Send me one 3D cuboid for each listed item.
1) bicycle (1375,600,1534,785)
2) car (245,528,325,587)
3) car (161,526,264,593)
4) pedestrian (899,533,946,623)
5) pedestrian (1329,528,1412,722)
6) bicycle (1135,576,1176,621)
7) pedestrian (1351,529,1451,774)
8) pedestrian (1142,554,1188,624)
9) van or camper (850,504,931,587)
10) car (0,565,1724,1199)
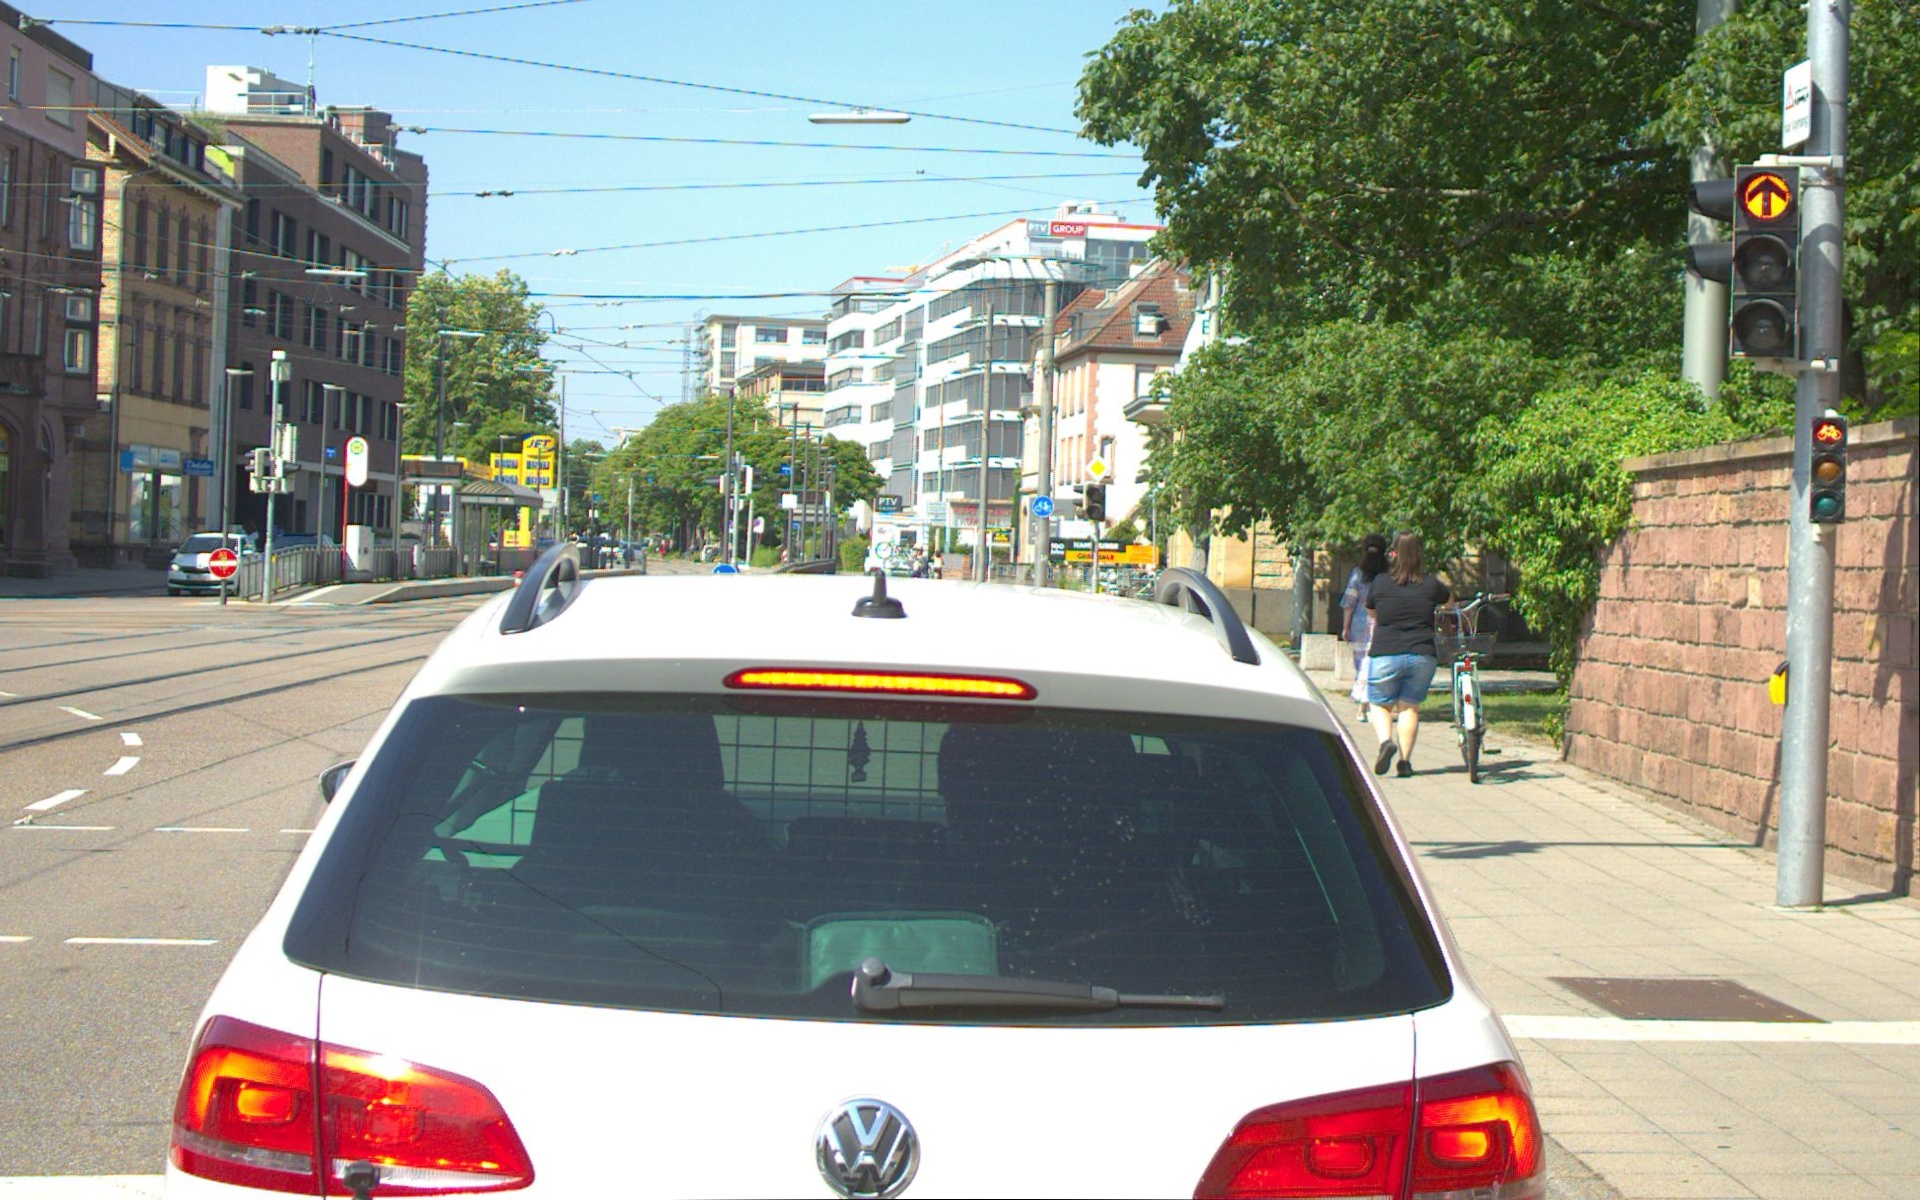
[{"bbox_3d":[3.146,0.568,22.011,0.536,1.107,1.807,1,0,-6],"label":"bicycle"},{"bbox_3d":[-17.588,-1.130,89.666,1.572,1.454,3.815,2,1,-4],"label":"car"},{"bbox_3d":[-17.442,-0.942,80.381,1.625,1.426,3.963,3,1,-2],"label":"car"},{"bbox_3d":[-0.762,-0.457,70.058,0.831,1.803,0.829,2,1,5],"label":"pedestrian"},{"bbox_3d":[3.636,0.215,30.461,0.650,1.676,0.707,2,1,5],"label":"pedestrian"},{"bbox_3d":[5.145,-0.041,90.438,0.726,1.135,2.193,2,1,12],"label":"bicycle"},{"bbox_3d":[2.811,0.318,21.948,0.540,1.543,0.663,0,1,-1],"label":"pedestrian"},{"bbox_3d":[4.552,-0.239,76.207,0.856,1.505,0.781,2,1,12],"label":"pedestrian"},{"bbox_3d":[-2.749,-2.190,138.119,2.944,3.169,6.613,2,1,0],"label":"van or camper"},{"bbox_3d":[-0.155,0.693,5.371,1.752,1.413,3.853,2,1,-1],"label":"car"}]
